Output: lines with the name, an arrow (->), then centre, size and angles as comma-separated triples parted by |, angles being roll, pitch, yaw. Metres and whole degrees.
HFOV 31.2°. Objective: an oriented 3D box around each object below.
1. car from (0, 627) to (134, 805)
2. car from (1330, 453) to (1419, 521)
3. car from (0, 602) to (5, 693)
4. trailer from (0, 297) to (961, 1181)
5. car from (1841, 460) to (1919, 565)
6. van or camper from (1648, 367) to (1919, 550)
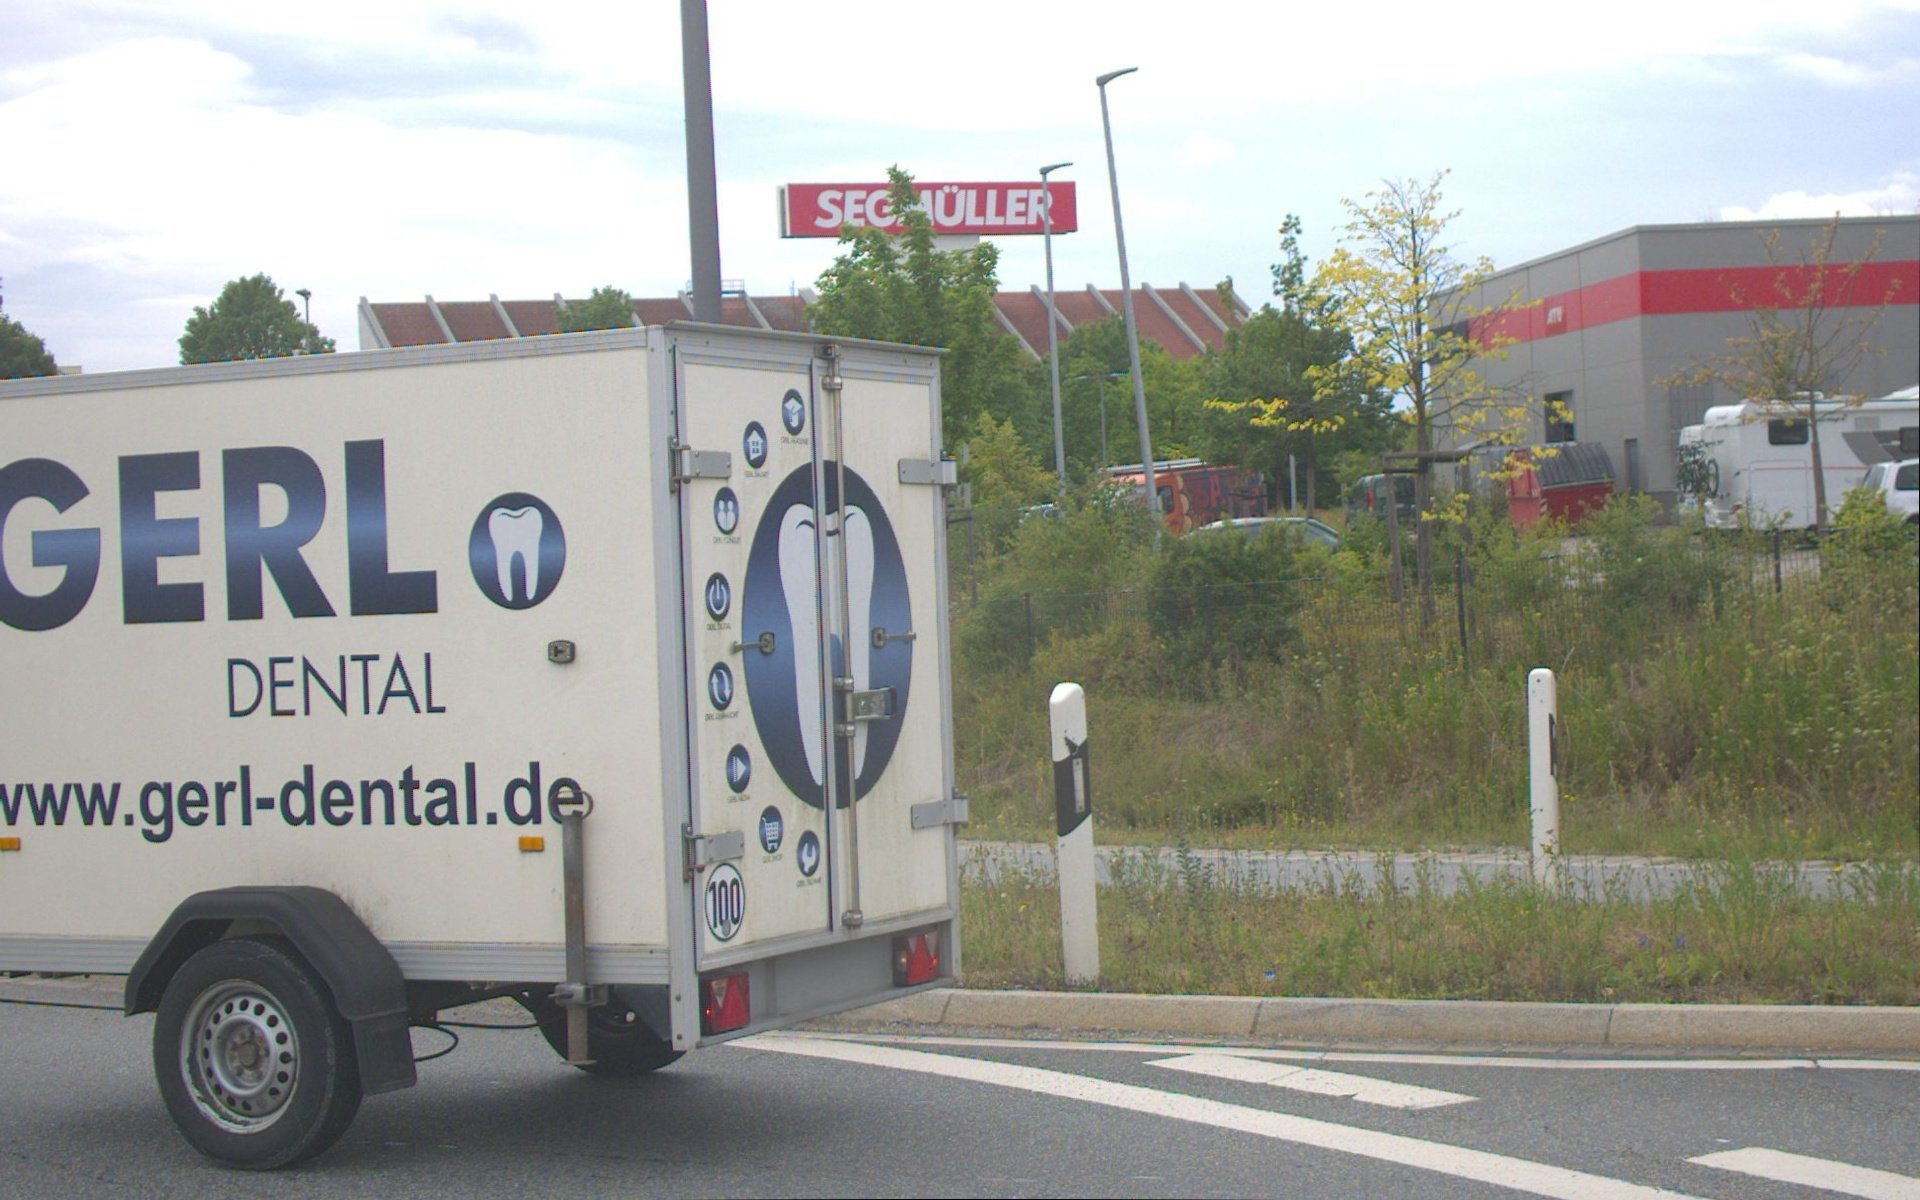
car -> -10.341, 1.270, 38.441 | 1.869, 1.599, 3.736 | -5, 4, -16
car -> 12.018, -3.267, 99.932 | 1.699, 1.805, 3.971 | -5, 2, -4
car -> -17.785, 0.864, 59.430 | 1.906, 1.612, 4.001 | -2, 0, -8
trailer -> -2.286, 0.344, 9.848 | 4.138, 2.084, 1.810 | -2, 1, 27
car -> 17.161, -1.542, 58.072 | 4.049, 1.714, 1.780 | -2, 1, 0
van or camper -> 17.173, -2.747, 64.867 | 7.713, 3.167, 2.493 | -3, 2, -3
